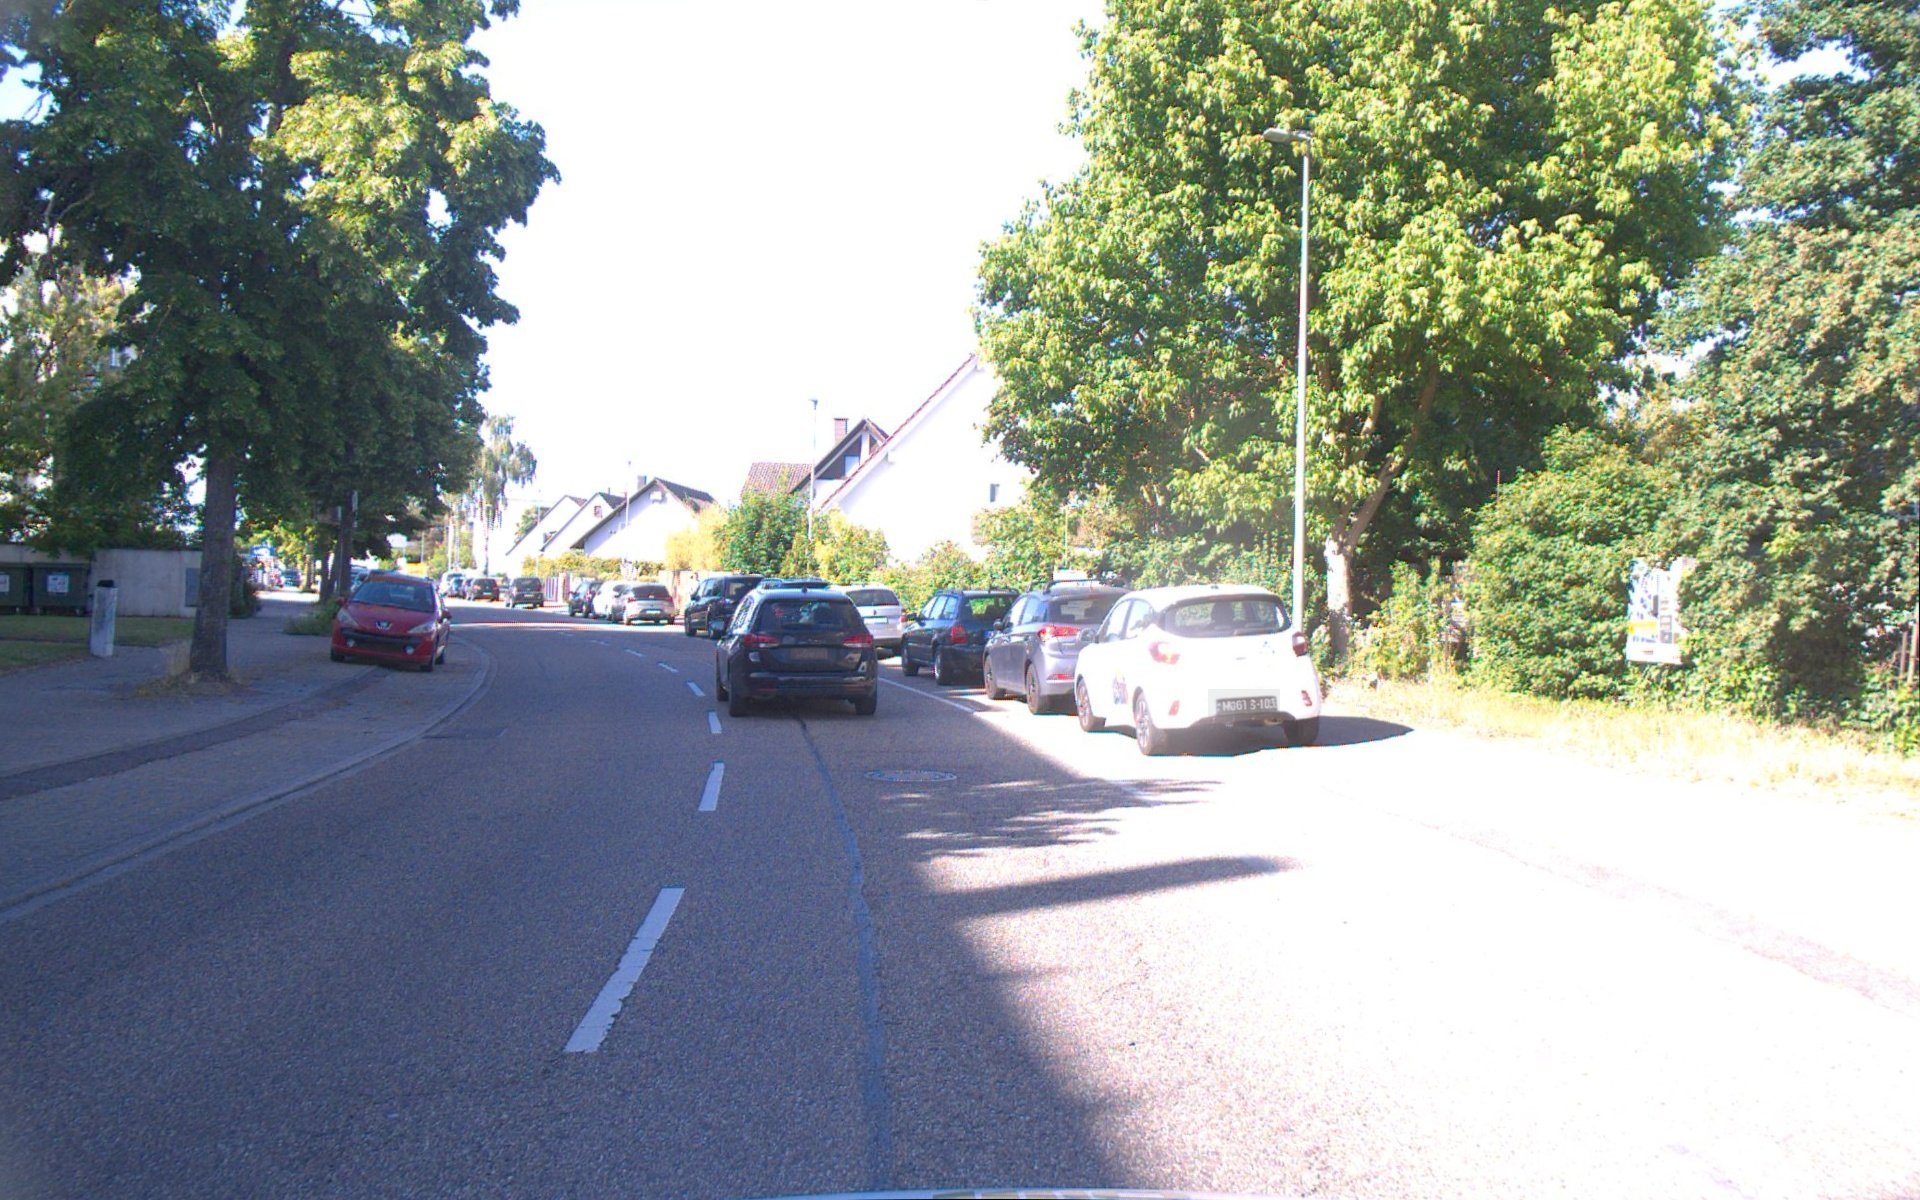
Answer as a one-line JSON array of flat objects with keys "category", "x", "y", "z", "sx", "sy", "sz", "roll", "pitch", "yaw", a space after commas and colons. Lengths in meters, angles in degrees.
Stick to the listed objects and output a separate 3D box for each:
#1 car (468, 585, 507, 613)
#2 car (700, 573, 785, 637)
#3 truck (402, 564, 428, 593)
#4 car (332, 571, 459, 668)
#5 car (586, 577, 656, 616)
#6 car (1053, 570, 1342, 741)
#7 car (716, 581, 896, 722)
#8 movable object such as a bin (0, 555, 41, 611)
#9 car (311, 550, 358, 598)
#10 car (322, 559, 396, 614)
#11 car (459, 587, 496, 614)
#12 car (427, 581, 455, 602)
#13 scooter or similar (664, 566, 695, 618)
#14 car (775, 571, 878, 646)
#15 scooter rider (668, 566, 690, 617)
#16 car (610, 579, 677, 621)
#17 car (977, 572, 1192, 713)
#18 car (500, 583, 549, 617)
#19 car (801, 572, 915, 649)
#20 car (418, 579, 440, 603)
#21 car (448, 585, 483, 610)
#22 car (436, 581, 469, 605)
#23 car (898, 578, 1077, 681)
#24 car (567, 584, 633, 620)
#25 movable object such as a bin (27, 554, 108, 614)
[{"category": "car", "x": -30.722, "y": -0.052, "z": 107.473, "sx": 1.978, "sy": 1.754, "sz": 4.265, "roll": 1, "pitch": 0, "yaw": -22}, {"category": "car", "x": -6.209, "y": 0.145, "z": 46.812, "sx": 1.871, "sy": 1.695, "sz": 4.175, "roll": 1, "pitch": 0, "yaw": -15}, {"category": "truck", "x": -55.130, "y": -2.123, "z": 167.264, "sx": 2.174, "sy": 2.645, "sz": 5.109, "roll": 2, "pitch": -2, "yaw": -22}, {"category": "car", "x": -9.916, "y": 0.318, "z": 29.316, "sx": 1.660, "sy": 1.517, "sz": 4.276, "roll": 3, "pitch": 0, "yaw": -13}, {"category": "car", "x": -13.366, "y": -0.138, "z": 65.040, "sx": 1.890, "sy": 1.432, "sz": 4.263, "roll": 1, "pitch": 0, "yaw": -23}, {"category": "car", "x": 2.255, "y": 0.512, "z": 16.926, "sx": 1.728, "sy": 1.506, "sz": 4.285, "roll": 1, "pitch": 0, "yaw": -9}, {"category": "car", "x": -2.036, "y": 0.580, "z": 20.712, "sx": 1.731, "sy": 1.517, "sz": 4.278, "roll": 3, "pitch": 0, "yaw": -12}, {"category": "movable object such as a bin", "x": -23.803, "y": -0.416, "z": 41.332, "sx": 1.152, "sy": 1.345, "sz": 1.084, "roll": 1, "pitch": -2, "yaw": -13}, {"category": "car", "x": -33.062, "y": -1.373, "z": 87.517, "sx": 1.877, "sy": 2.206, "sz": 4.269, "roll": 9, "pitch": -2, "yaw": -18}, {"category": "car", "x": -21.684, "y": -0.480, "z": 59.831, "sx": 1.805, "sy": 1.657, "sz": 4.276, "roll": 9, "pitch": -2, "yaw": -13}, {"category": "car", "x": -32.981, "y": 0.015, "z": 113.097, "sx": 1.978, "sy": 1.754, "sz": 4.265, "roll": 1, "pitch": 0, "yaw": -22}, {"category": "car", "x": -46.061, "y": -0.739, "z": 146.754, "sx": 1.978, "sy": 1.754, "sz": 4.265, "roll": 1, "pitch": 0, "yaw": -22}, {"category": "scooter or similar", "x": -11.644, "y": -0.320, "z": 68.592, "sx": 0.675, "sy": 2.049, "sz": 2.943, "roll": 2, "pitch": -2, "yaw": -21}, {"category": "car", "x": -3.400, "y": 0.216, "z": 41.433, "sx": 1.971, "sy": 1.754, "sz": 4.280, "roll": 1, "pitch": 0, "yaw": -13}, {"category": "scooter rider", "x": -11.651, "y": -0.337, "z": 68.573, "sx": 0.676, "sy": 2.049, "sz": 0.814, "roll": 2, "pitch": -2, "yaw": -22}, {"category": "car", "x": -11.318, "y": 0.013, "z": 59.029, "sx": 1.886, "sy": 1.432, "sz": 4.273, "roll": 1, "pitch": 0, "yaw": -17}, {"category": "car", "x": 1.492, "y": 0.484, "z": 21.537, "sx": 1.876, "sy": 1.628, "sz": 4.286, "roll": 1, "pitch": 0, "yaw": -9}, {"category": "car", "x": -23.510, "y": 0.013, "z": 89.225, "sx": 1.978, "sy": 1.754, "sz": 4.265, "roll": 1, "pitch": 0, "yaw": -22}, {"category": "car", "x": -2.283, "y": 0.230, "z": 36.019, "sx": 1.789, "sy": 1.561, "sz": 4.245, "roll": 1, "pitch": 0, "yaw": -13}, {"category": "car", "x": -48.628, "y": -0.806, "z": 151.448, "sx": 1.724, "sy": 2.049, "sz": 3.926, "roll": 2, "pitch": -2, "yaw": -21}, {"category": "car", "x": -36.033, "y": -0.170, "z": 120.461, "sx": 1.978, "sy": 1.754, "sz": 4.265, "roll": 1, "pitch": 0, "yaw": -22}, {"category": "car", "x": -38.506, "y": -0.535, "z": 125.455, "sx": 1.978, "sy": 1.754, "sz": 4.265, "roll": 1, "pitch": 0, "yaw": -22}, {"category": "car", "x": 0.344, "y": 0.449, "z": 26.766, "sx": 1.970, "sy": 1.501, "sz": 4.281, "roll": 1, "pitch": 0, "yaw": -12}, {"category": "car", "x": -15.137, "y": 0.076, "z": 69.421, "sx": 1.890, "sy": 1.432, "sz": 4.263, "roll": 1, "pitch": 0, "yaw": -23}, {"category": "movable object such as a bin", "x": -22.456, "y": -0.392, "z": 41.646, "sx": 1.491, "sy": 1.452, "sz": 1.084, "roll": 1, "pitch": -2, "yaw": -13}]
